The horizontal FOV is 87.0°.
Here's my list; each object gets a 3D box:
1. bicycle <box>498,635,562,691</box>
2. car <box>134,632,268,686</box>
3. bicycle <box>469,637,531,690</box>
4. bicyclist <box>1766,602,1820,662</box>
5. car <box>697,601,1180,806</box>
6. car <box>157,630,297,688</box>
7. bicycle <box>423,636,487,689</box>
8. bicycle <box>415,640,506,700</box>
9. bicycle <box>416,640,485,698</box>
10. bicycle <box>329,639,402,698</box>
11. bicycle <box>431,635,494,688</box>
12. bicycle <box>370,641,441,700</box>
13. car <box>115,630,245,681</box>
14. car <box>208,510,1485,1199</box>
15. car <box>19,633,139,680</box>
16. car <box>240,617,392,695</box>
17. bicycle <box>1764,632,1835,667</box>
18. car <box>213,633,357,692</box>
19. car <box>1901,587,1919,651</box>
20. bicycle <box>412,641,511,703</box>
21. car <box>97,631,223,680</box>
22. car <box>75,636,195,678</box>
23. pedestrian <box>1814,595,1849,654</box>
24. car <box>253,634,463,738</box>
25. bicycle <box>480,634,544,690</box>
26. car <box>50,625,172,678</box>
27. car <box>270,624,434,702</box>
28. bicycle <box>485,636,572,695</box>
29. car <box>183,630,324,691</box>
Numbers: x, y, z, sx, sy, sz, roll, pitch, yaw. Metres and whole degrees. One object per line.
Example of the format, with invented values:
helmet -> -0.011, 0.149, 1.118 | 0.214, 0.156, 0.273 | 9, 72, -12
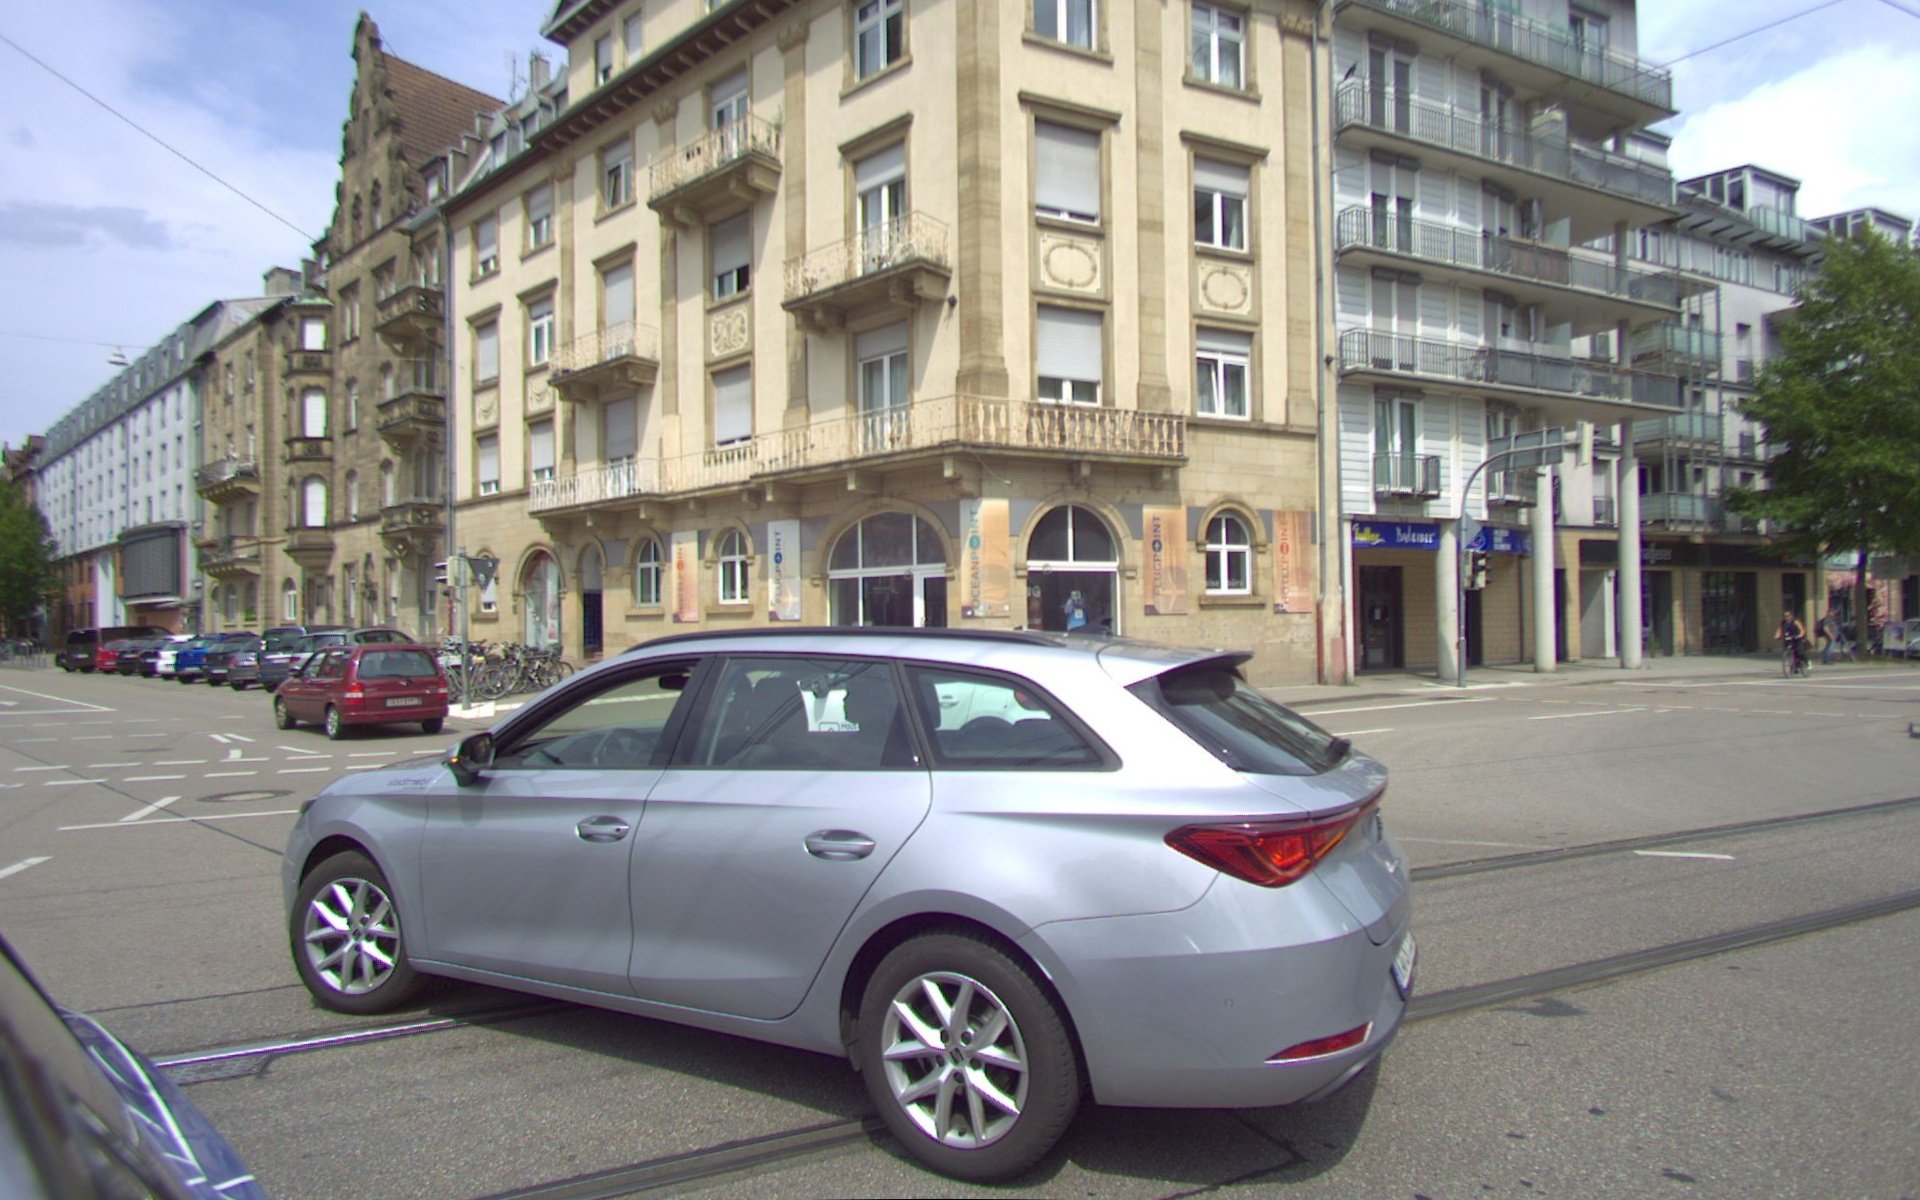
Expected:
bicycle -> -10.177, 1.474, 23.992 | 0.396, 1.201, 1.330 | -2, 1, 34
car -> -27.623, 2.118, 36.981 | 1.738, 1.546, 3.822 | -4, 1, 5
bicycle -> -11.127, 1.518, 24.510 | 0.397, 1.201, 1.328 | -3, -2, 38
bicyclist -> 20.790, 0.788, 25.256 | 0.983, 1.455, 0.643 | 0, -1, -25
car -> -0.349, 0.802, 9.138 | 4.235, 1.442, 1.718 | -2, -2, 38
car -> -24.975, 1.960, 34.649 | 1.738, 1.546, 3.822 | -4, 1, 5
bicycle -> -12.305, 1.513, 24.707 | 0.396, 1.201, 1.330 | -2, 0, 35
bicycle -> -11.114, 1.530, 22.581 | 0.397, 1.201, 1.800 | -2, 0, 37
bicycle -> -11.608, 1.550, 23.096 | 0.397, 1.201, 1.329 | -2, 0, 37
bicycle -> -13.509, 1.544, 23.026 | 0.397, 1.201, 1.329 | -3, 1, 38
bicycle -> -11.953, 1.458, 24.340 | 0.397, 1.201, 1.328 | -3, -2, 38
bicycle -> -12.564, 1.589, 22.974 | 0.396, 1.201, 1.331 | -2, 1, 33
car -> -29.713, 2.082, 38.718 | 1.738, 1.546, 3.822 | -4, 1, 5
car -> -0.747, 0.664, 3.908 | 4.829, 1.535, 1.750 | -2, -1, 31
car -> -39.333, 2.488, 45.296 | 1.737, 1.698, 3.822 | -4, 1, 5
car -> -18.290, 1.540, 28.971 | 1.735, 1.832, 3.827 | -4, 1, 1
bicycle -> 21.049, 1.221, 25.368 | 1.760, 0.822, 0.654 | -1, -1, -25
car -> -20.320, 1.840, 30.658 | 1.735, 1.547, 3.826 | -2, -1, 1
car -> 32.642, 0.552, 32.573 | 3.931, 2.029, 2.006 | -1, -1, -25
bicycle -> -10.605, 1.513, 21.546 | 1.844, 1.201, 0.457 | -1, -1, -30
car -> -32.142, 2.205, 40.797 | 1.738, 1.546, 3.822 | -4, 1, 5
car -> -34.419, 2.356, 42.362 | 1.737, 1.547, 3.821 | -2, -1, 5
pedestrian -> 25.995, 0.740, 30.187 | 0.557, 1.735, 0.519 | -2, -1, 18
car -> -10.123, 1.343, 16.918 | 3.996, 1.535, 1.745 | -2, -3, 39
bicycle -> -10.721, 1.467, 24.248 | 0.396, 1.201, 1.330 | -2, 1, 34
car -> -36.683, 2.170, 43.849 | 1.737, 1.907, 3.822 | -4, 1, 5
car -> -15.879, 1.587, 26.697 | 1.735, 1.601, 4.035 | -4, 1, 1
bicycle -> -9.912, 1.493, 23.308 | 0.397, 1.201, 1.808 | -3, 0, 39
car -> -22.747, 1.896, 32.763 | 1.735, 1.546, 3.827 | -4, 1, 1
